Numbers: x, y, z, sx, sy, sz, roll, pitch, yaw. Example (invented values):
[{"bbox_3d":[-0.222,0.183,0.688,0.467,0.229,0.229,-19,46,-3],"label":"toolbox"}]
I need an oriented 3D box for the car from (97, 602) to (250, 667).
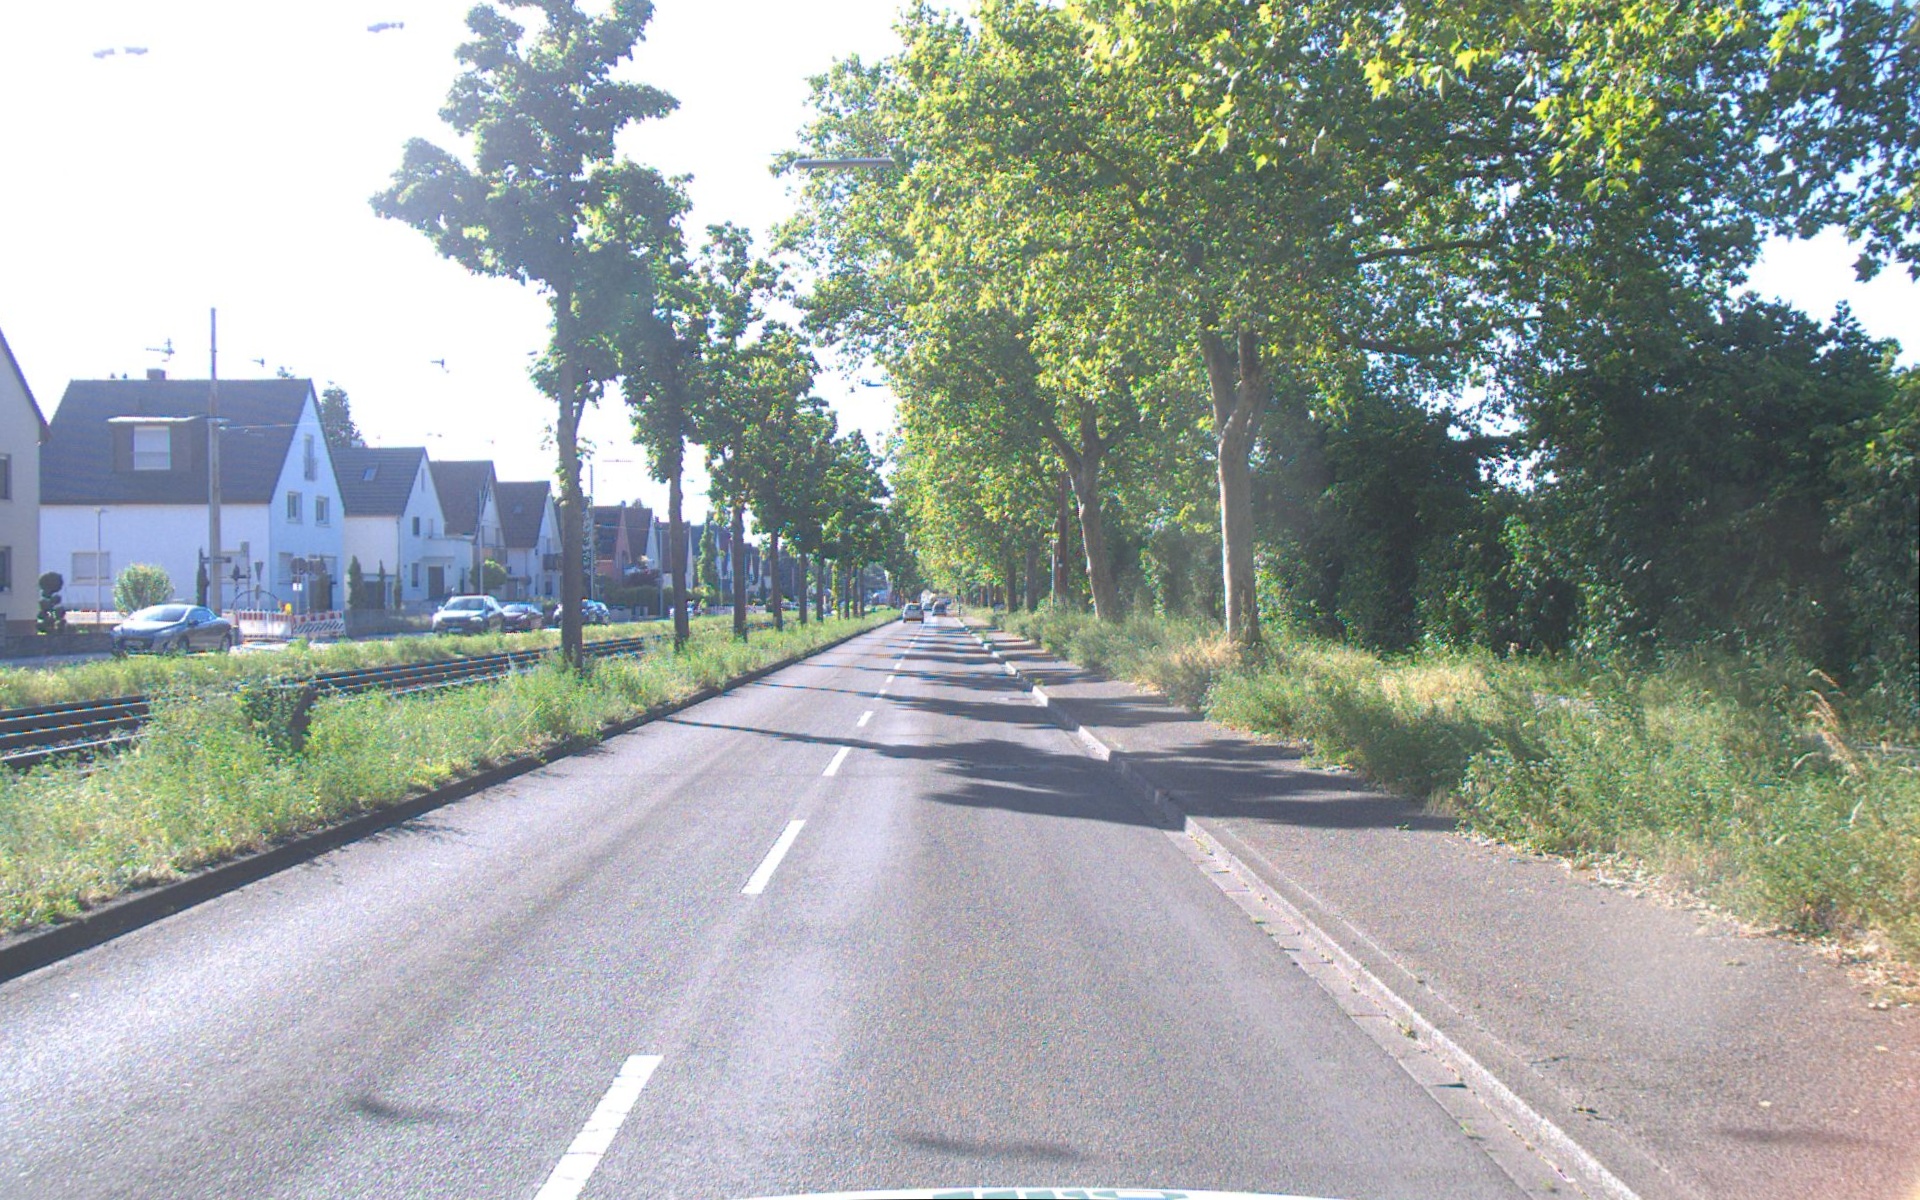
[{"bbox_3d":[-21.284,0.898,44.973,1.953,1.609,4.497,2,0,0],"label":"car"}]

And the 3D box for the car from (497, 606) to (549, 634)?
[{"bbox_3d":[-21.896,1.013,83.023,1.463,1.349,4.000,2,-1,1],"label":"car"}]

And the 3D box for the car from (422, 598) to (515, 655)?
[{"bbox_3d":[-17.509,0.958,59.129,1.876,1.916,4.523,2,-1,0],"label":"car"}]

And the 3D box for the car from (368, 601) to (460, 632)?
[{"bbox_3d":[-28.365,0.851,86.054,4.130,1.489,1.936,2,-1,-5],"label":"car"}]

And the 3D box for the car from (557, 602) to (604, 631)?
[{"bbox_3d":[-21.827,0.980,95.271,1.610,1.595,4.386,1,-1,1],"label":"car"}]

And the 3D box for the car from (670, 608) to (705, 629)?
[{"bbox_3d":[-22.852,1.571,138.823,1.952,1.627,4.732,1,-1,3],"label":"car"}]

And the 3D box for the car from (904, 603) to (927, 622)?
[{"bbox_3d":[-3.404,0.975,126.671,1.703,1.425,3.276,2,-1,-1],"label":"car"}]

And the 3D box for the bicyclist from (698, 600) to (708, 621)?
[{"bbox_3d":[-20.381,0.846,131.266,0.674,1.681,0.881,1,-1,-1],"label":"bicyclist"}]

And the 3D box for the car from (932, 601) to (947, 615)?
[{"bbox_3d":[-2.380,0.947,192.761,1.725,1.539,3.276,2,-1,0],"label":"car"}]
